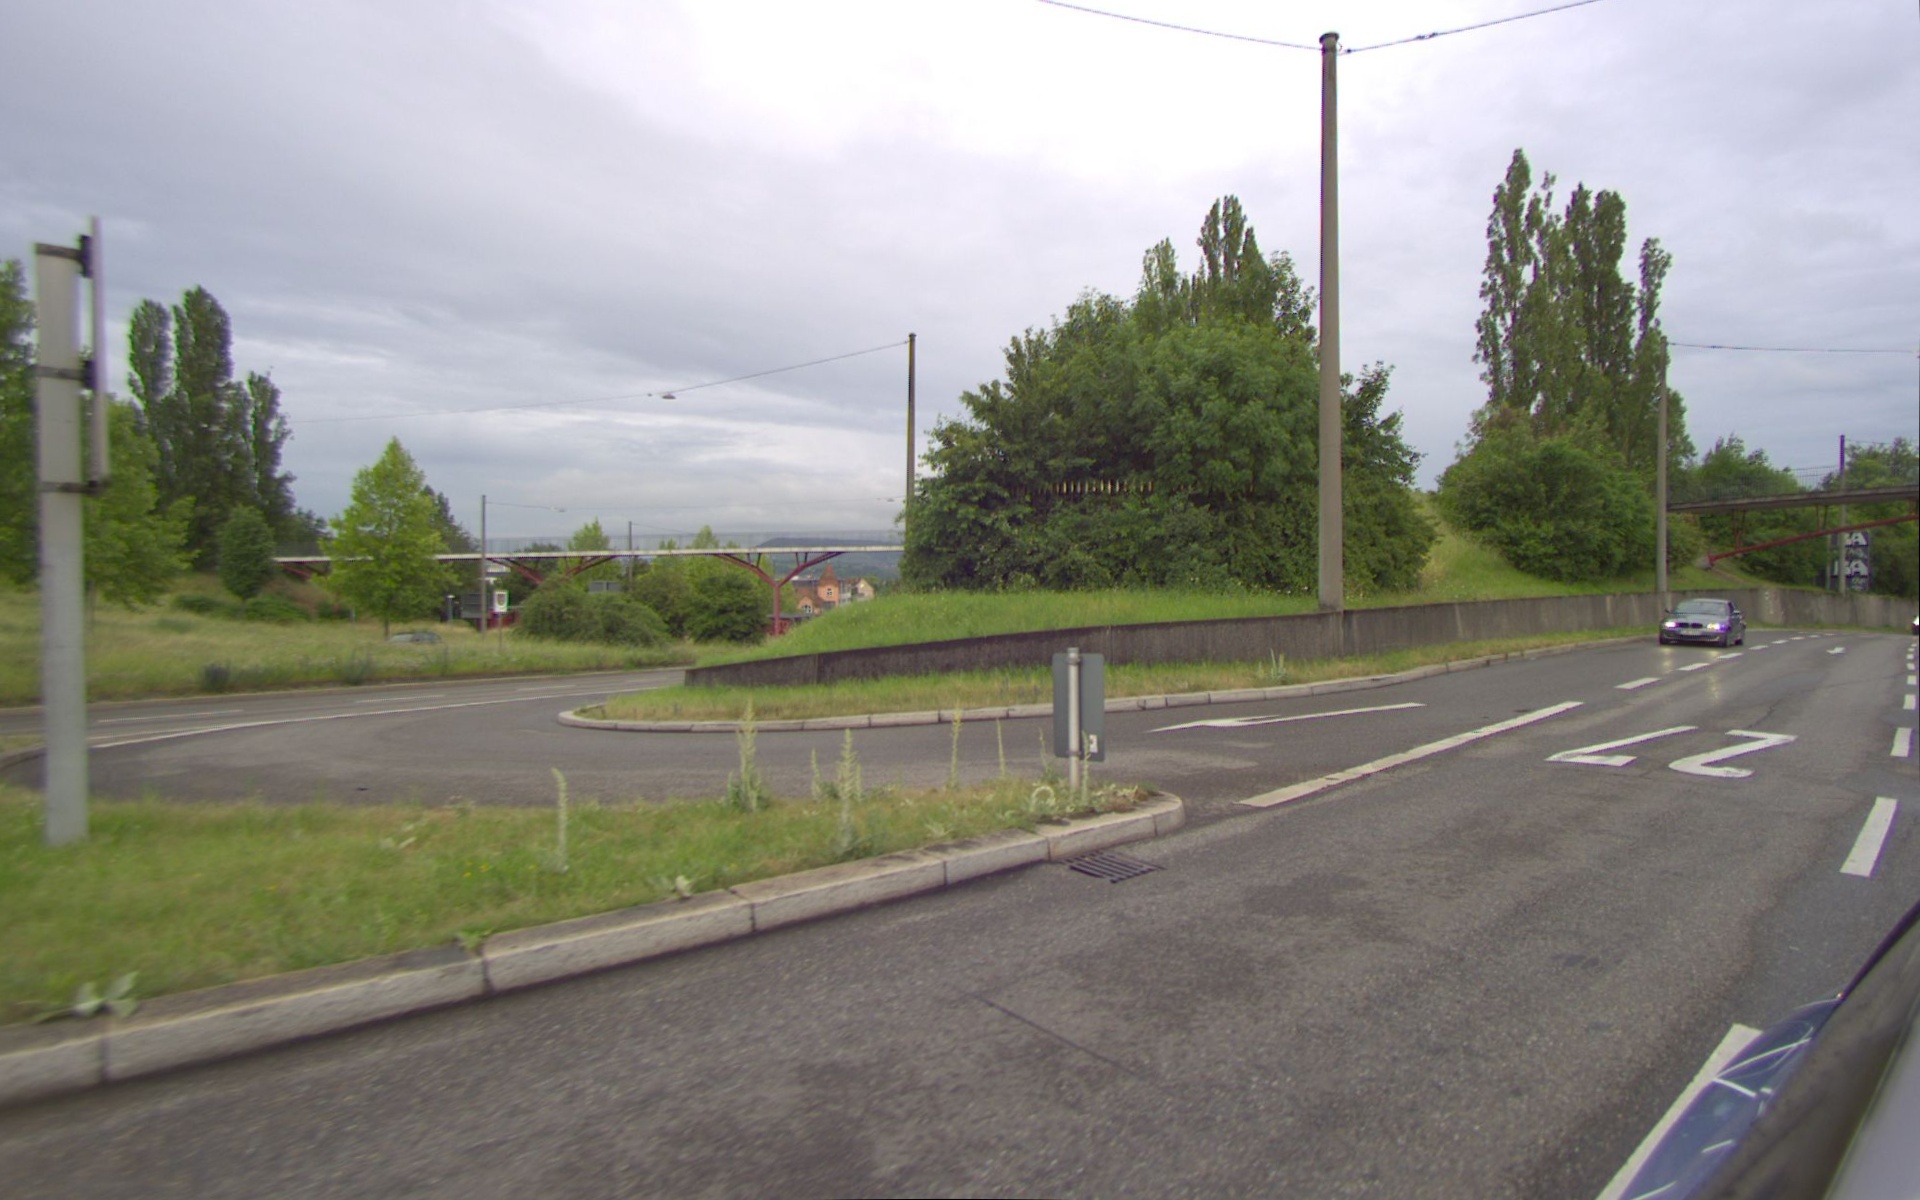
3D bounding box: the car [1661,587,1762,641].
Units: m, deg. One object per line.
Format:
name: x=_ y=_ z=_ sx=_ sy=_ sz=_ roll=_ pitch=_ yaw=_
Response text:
car: x=23.045 y=0.406 z=30.981 sx=3.932 sy=1.529 sz=1.807 roll=1 pitch=0 yaw=-43
